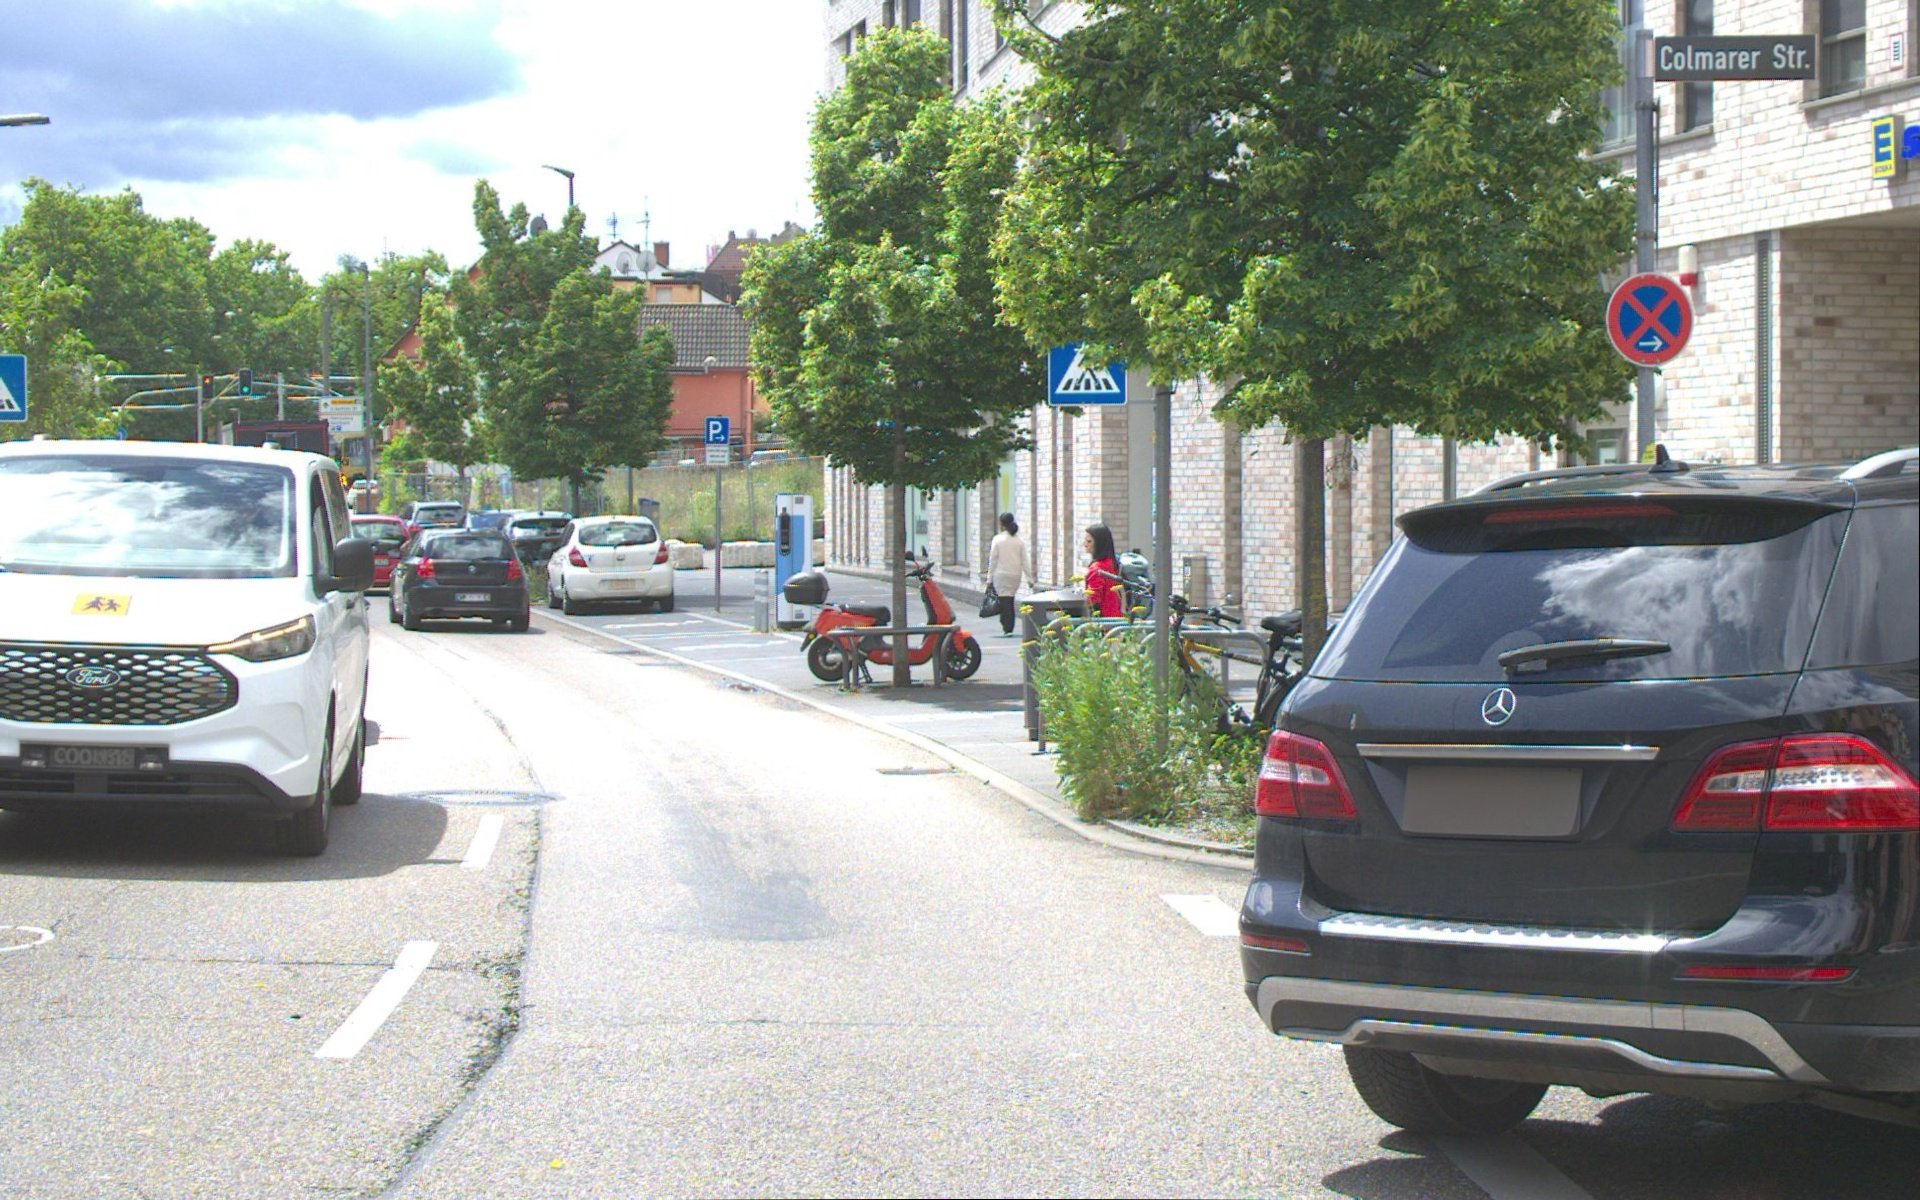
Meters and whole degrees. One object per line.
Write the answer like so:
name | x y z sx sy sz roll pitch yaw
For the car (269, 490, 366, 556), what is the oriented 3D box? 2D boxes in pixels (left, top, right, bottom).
car | -15.009 -1.798 80.182 1.887 1.460 4.070 -1 2 -15

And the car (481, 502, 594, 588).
car | -7.813 -1.049 63.364 1.692 1.456 4.148 -2 2 -12

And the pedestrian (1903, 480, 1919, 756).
pedestrian | 6.223 0.101 21.203 0.658 1.686 0.631 0 1 28

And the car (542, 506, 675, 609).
car | -5.572 -0.703 54.229 1.692 1.478 3.799 -2 2 -11

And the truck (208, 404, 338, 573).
truck | -19.497 -3.048 97.227 3.202 4.520 9.031 1 0 -13

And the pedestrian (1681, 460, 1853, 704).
pedestrian | 5.852 -0.141 24.955 1.014 1.735 0.660 -1 1 -16

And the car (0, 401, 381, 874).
car | -4.088 0.102 17.479 1.993 2.007 5.396 2 1 -7

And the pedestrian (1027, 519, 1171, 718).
pedestrian | 1.106 0.150 27.495 0.927 1.560 0.815 1 0 -15

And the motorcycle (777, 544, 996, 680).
motorcycle | -0.714 0.113 33.862 2.050 1.261 0.672 -2 1 5

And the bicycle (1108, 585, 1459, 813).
bicycle | 1.804 0.540 19.293 1.822 1.197 0.756 -1 1 -6

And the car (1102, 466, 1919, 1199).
car | 2.675 0.519 9.156 4.520 1.740 1.999 -3 2 -44

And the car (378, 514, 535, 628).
car | -7.157 -0.449 48.638 1.726 1.451 3.810 -1 3 -15

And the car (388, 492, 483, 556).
car | -12.832 -1.874 83.961 1.781 1.446 4.478 -2 3 -15

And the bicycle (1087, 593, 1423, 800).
bicycle | 1.714 0.550 20.120 1.822 1.127 0.756 -1 1 -6

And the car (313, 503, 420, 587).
car | -10.814 -1.027 62.535 1.711 1.388 3.810 -1 3 -13

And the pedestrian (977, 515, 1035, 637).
pedestrian | 0.564 -0.300 42.343 0.607 1.467 0.791 -1 2 -5
